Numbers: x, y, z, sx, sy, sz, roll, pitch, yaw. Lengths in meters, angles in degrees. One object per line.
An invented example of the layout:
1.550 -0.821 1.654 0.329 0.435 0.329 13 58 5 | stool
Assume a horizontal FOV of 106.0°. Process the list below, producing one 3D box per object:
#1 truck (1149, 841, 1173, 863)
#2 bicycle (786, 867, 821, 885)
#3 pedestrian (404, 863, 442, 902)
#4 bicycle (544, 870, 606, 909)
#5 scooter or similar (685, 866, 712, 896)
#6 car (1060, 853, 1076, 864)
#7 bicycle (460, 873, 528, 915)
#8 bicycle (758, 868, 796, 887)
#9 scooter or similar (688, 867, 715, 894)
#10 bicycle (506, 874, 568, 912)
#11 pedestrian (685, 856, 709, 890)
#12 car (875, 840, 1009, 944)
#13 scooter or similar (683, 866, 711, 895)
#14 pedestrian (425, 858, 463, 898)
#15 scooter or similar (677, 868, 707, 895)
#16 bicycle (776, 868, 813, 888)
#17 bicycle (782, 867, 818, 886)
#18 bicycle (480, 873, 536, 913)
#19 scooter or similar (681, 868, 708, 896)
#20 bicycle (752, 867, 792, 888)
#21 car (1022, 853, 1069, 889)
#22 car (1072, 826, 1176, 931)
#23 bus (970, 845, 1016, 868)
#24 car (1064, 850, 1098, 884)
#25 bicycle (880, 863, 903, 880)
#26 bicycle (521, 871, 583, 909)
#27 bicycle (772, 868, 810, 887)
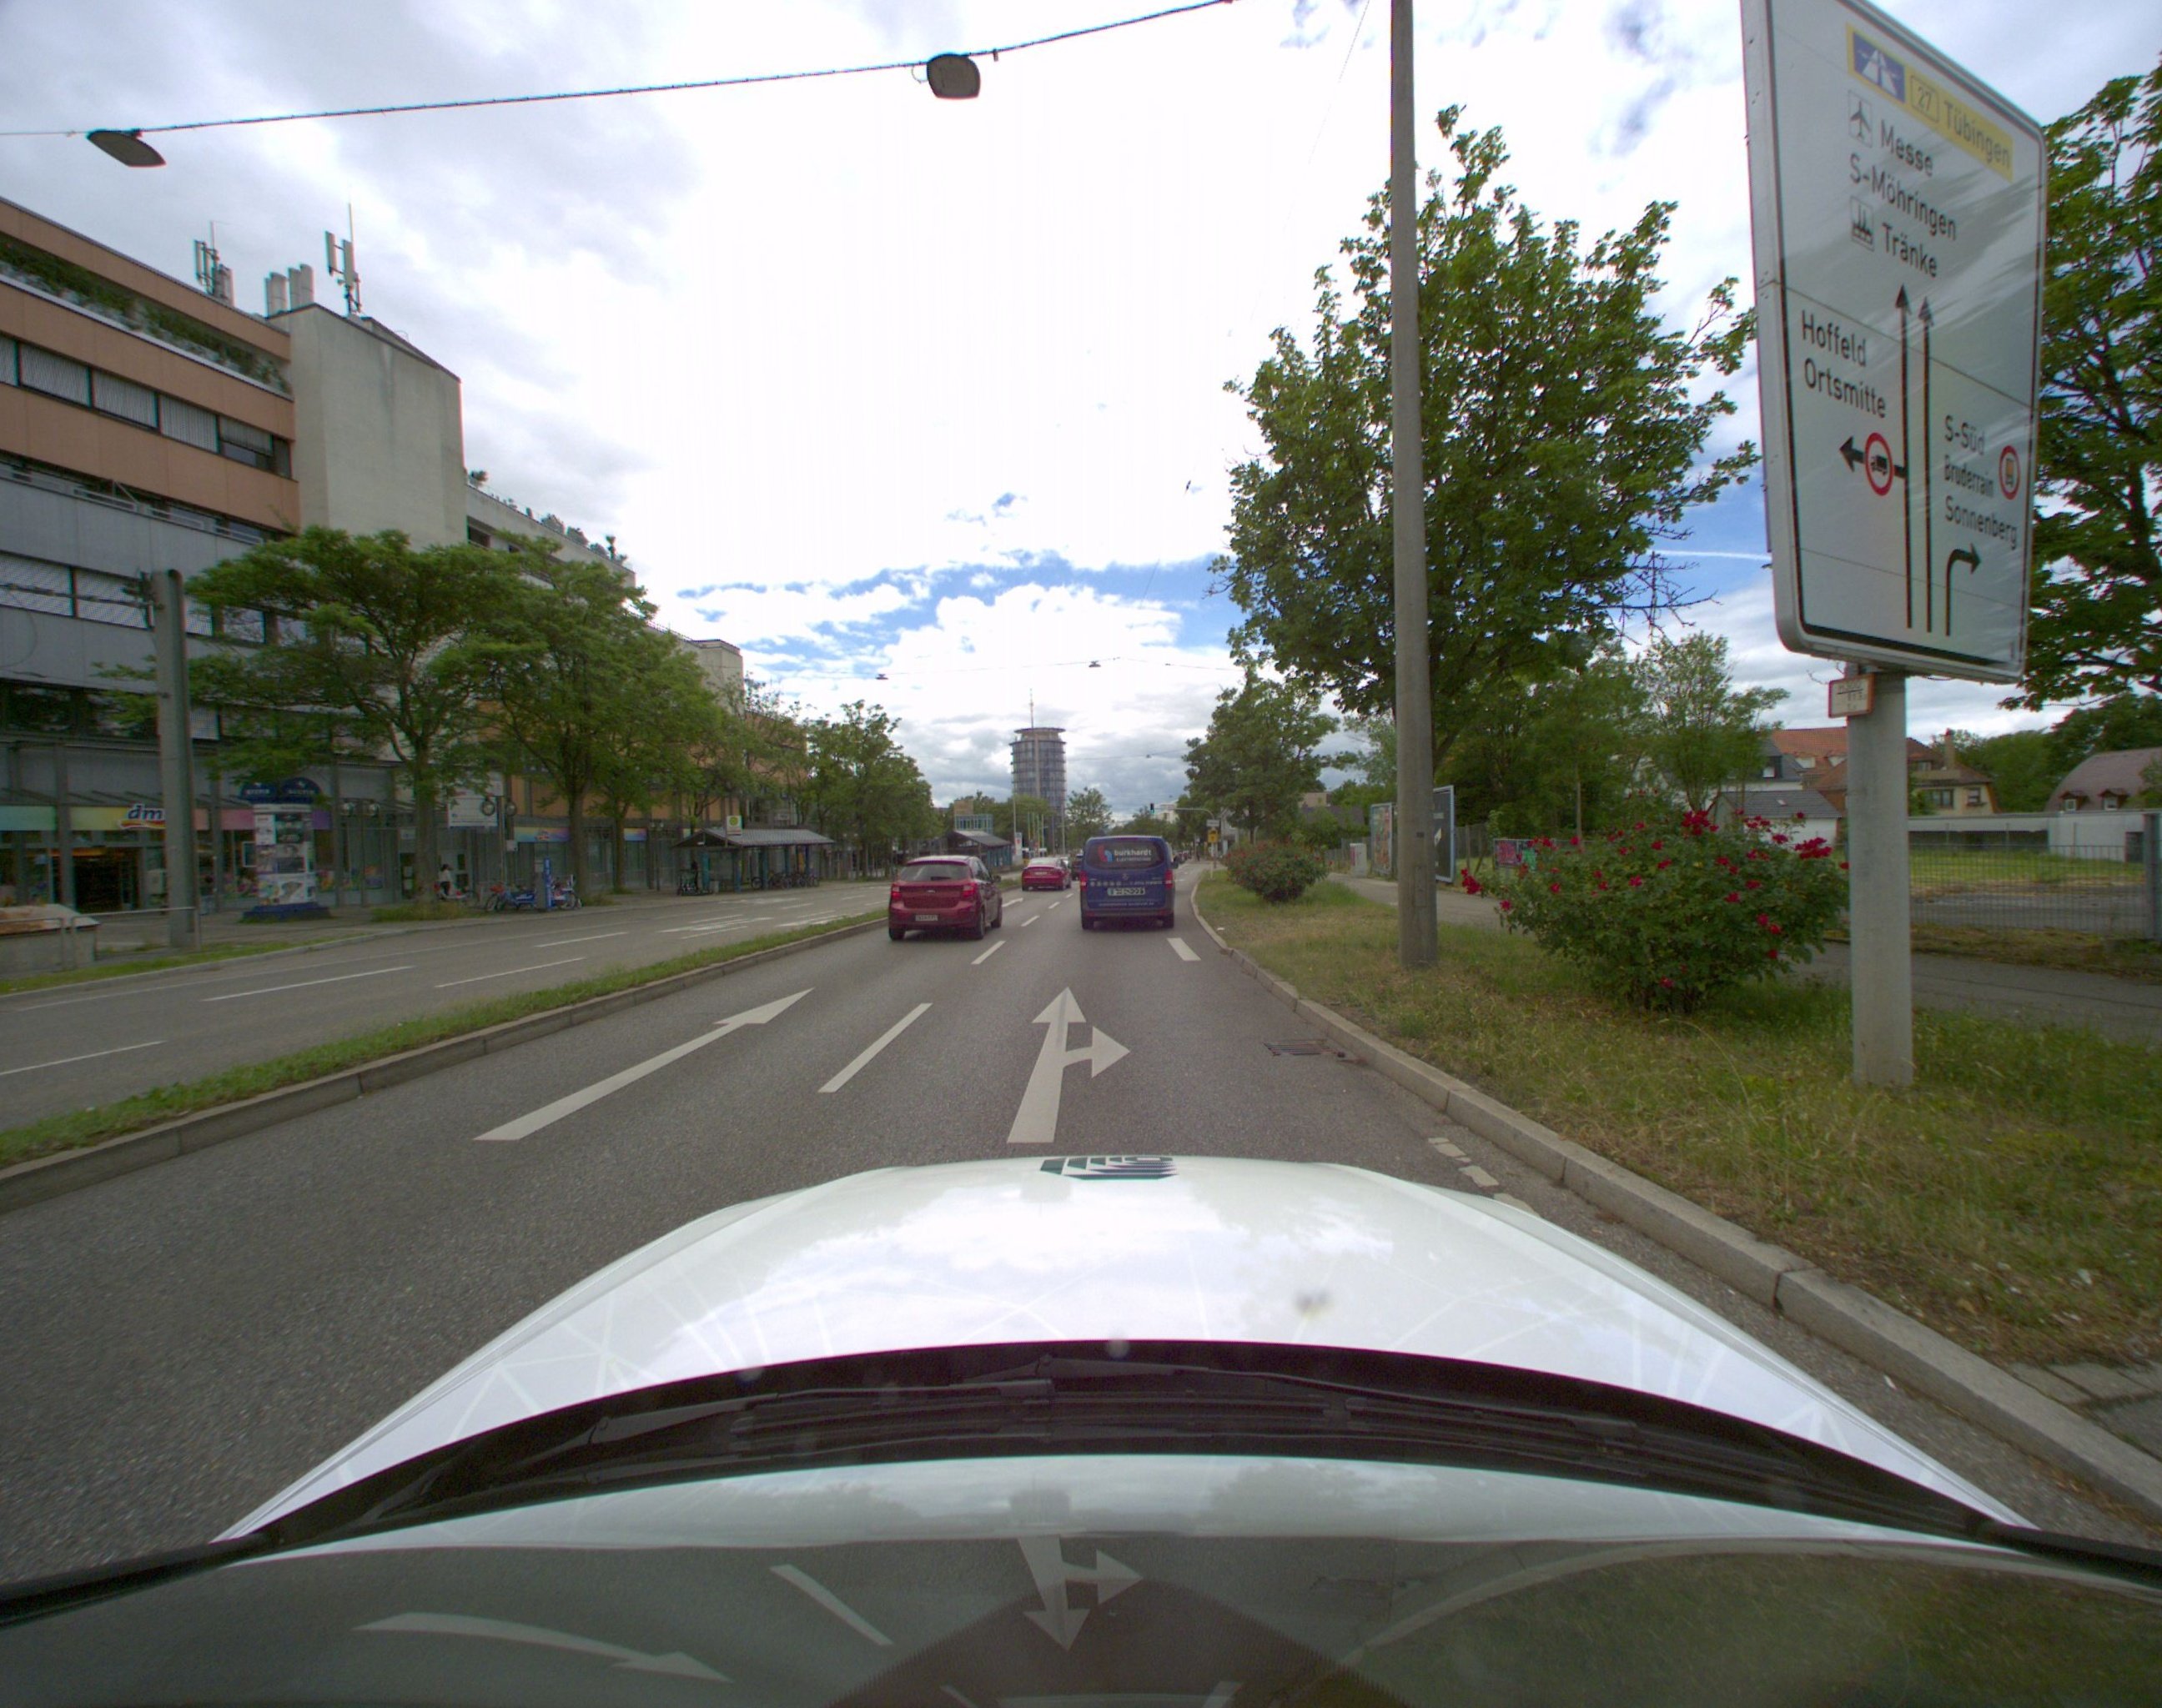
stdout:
7.899 -0.202 80.449 1.981 2.165 5.574 0 0 9 | truck
-18.222 1.430 53.498 2.063 1.153 0.710 -1 0 -7 | bicycle
-28.061 1.200 34.735 0.729 1.618 0.998 -2 0 5 | pedestrian
-17.593 1.234 28.354 0.619 1.253 1.694 -2 0 41 | bicycle
-18.774 1.316 39.973 1.197 1.423 0.260 -2 0 1 | scooter or similar
-2.001 0.675 123.427 1.614 1.574 4.011 -2 0 10 | car
-19.158 1.286 26.595 0.619 1.253 1.694 -2 0 42 | bicycle
-18.304 1.429 49.075 2.063 1.153 0.710 0 -1 -7 | bicycle
-18.761 1.302 40.272 1.197 1.320 0.260 -2 0 1 | scooter or similar
-19.438 1.376 29.126 0.619 1.253 1.694 -2 0 41 | bicycle
-20.776 1.003 44.087 0.729 1.781 0.998 -2 0 5 | pedestrian
-2.560 0.656 15.949 1.740 1.723 4.002 1 0 2 | car
-18.730 1.303 39.703 1.197 1.385 0.222 -2 0 1 | scooter or similar
-27.169 1.011 34.754 0.729 1.618 0.998 -2 0 5 | pedestrian
-18.656 1.318 39.066 1.316 1.269 0.339 0 0 1 | scooter or similar
-18.105 1.492 51.462 2.063 1.153 0.710 -2 0 -7 | bicycle
-18.079 1.472 52.484 2.063 1.153 0.710 2 -1 -7 | bicycle
-19.350 1.295 27.511 0.427 1.253 1.479 -2 0 44 | bicycle
-18.695 1.360 39.427 1.123 1.295 0.268 -2 0 0 | scooter or similar
-18.171 1.381 47.926 2.063 1.153 0.710 1 0 -7 | bicycle
-1.525 0.735 36.493 1.862 1.486 3.999 -2 0 0 | car
1.014 0.475 17.732 1.938 1.965 4.548 -1 0 5 | car
-13.029 0.361 122.019 2.936 3.133 12.205 -1 0 14 | bus
0.017 0.785 50.696 1.987 2.014 4.000 -1 -1 0 | car
-14.760 1.337 63.567 1.047 1.271 2.428 0 0 5 | bicycle
-18.583 1.242 28.620 0.619 1.253 1.694 -2 0 41 | bicycle
-17.796 1.439 50.058 2.063 1.153 0.710 -1 -1 -7 | bicycle
